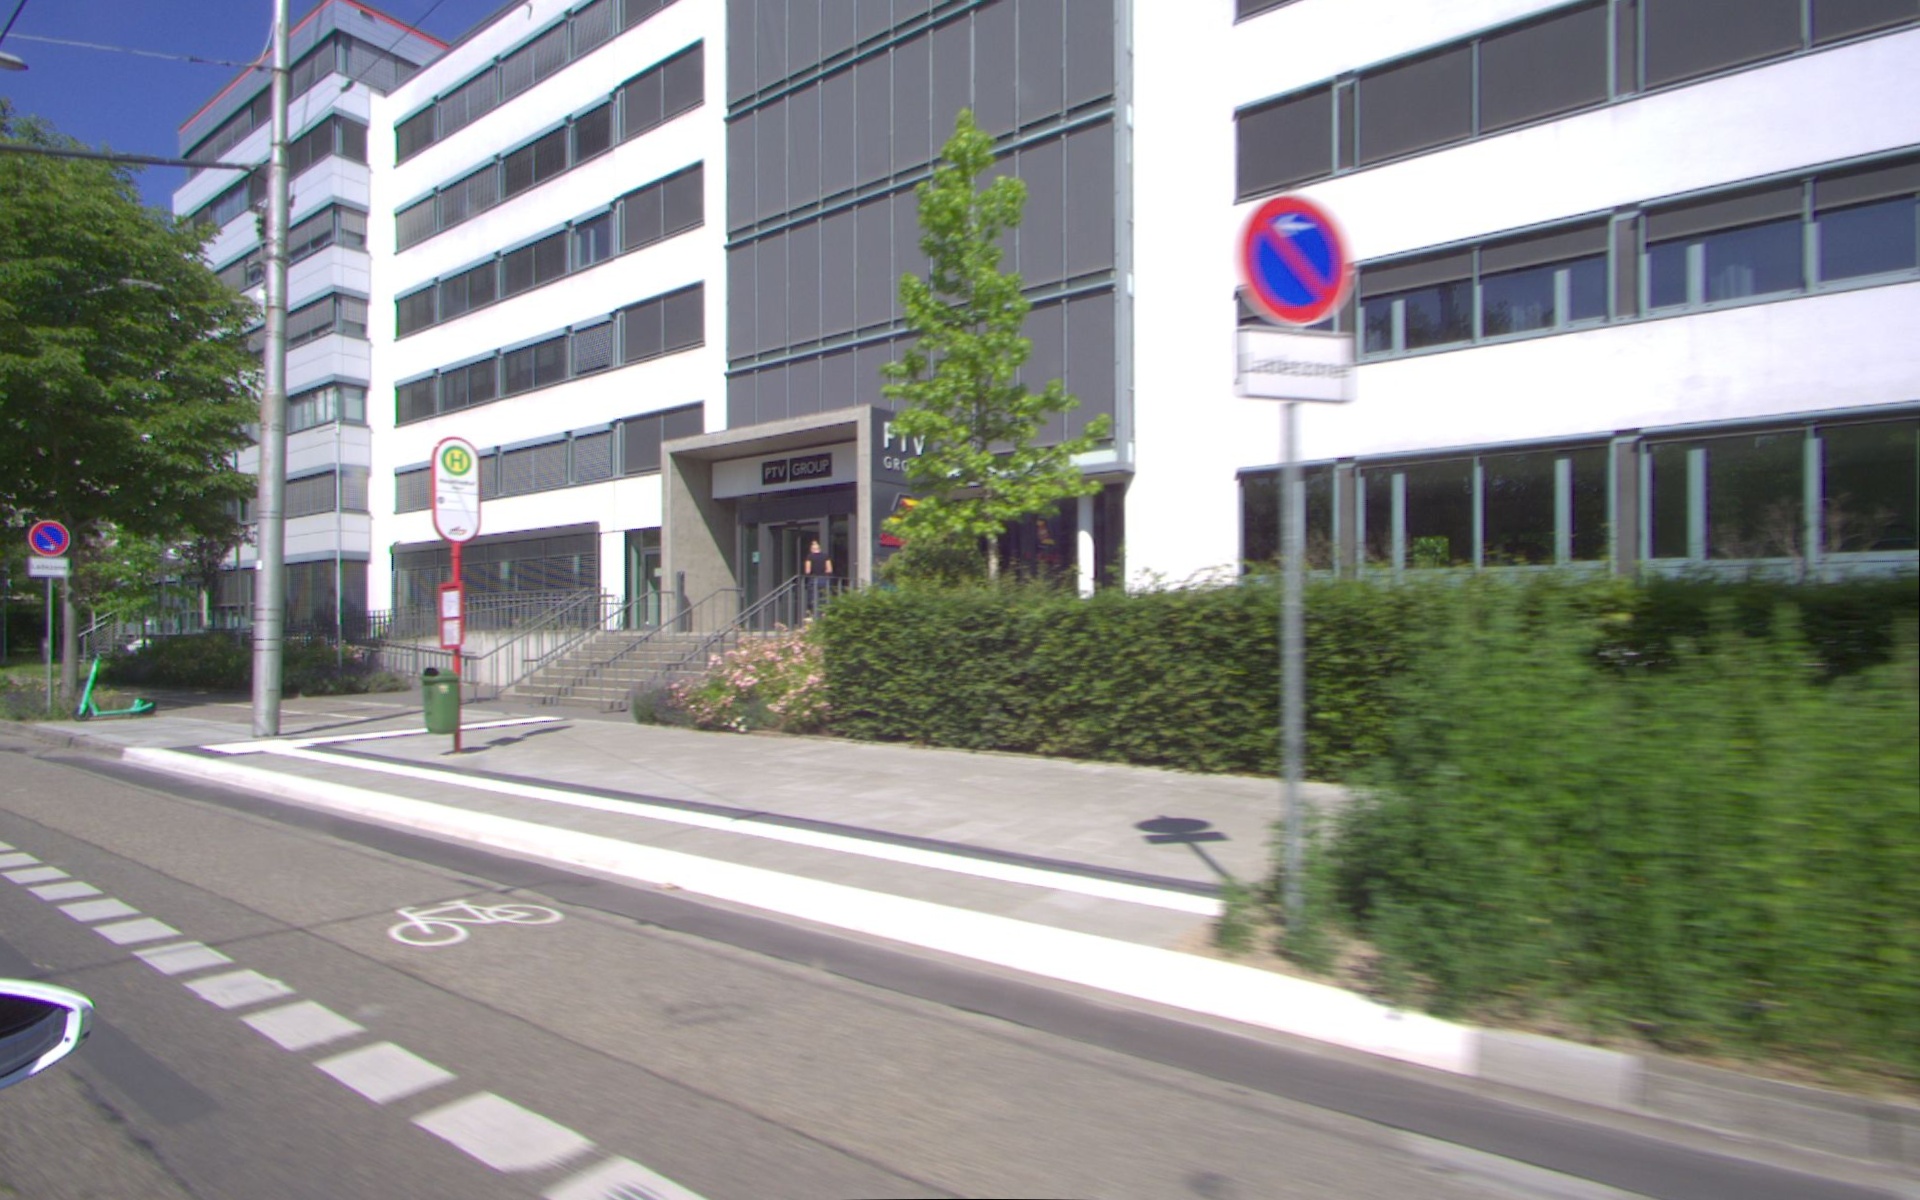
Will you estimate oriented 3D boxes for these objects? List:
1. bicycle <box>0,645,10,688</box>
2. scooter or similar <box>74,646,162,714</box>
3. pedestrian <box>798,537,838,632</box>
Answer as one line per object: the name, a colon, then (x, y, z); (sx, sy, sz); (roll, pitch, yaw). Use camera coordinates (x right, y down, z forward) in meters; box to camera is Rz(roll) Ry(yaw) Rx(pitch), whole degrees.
bicycle: (-25.239, 1.697, 25.249); (0.588, 1.097, 1.770); (-1, -1, 34)
scooter or similar: (-14.904, 1.396, 17.740); (0.488, 1.169, 1.137); (-1, -2, 42)
pedestrian: (-2.652, -0.270, 18.729); (0.540, 1.750, 0.497); (-1, -1, 36)
